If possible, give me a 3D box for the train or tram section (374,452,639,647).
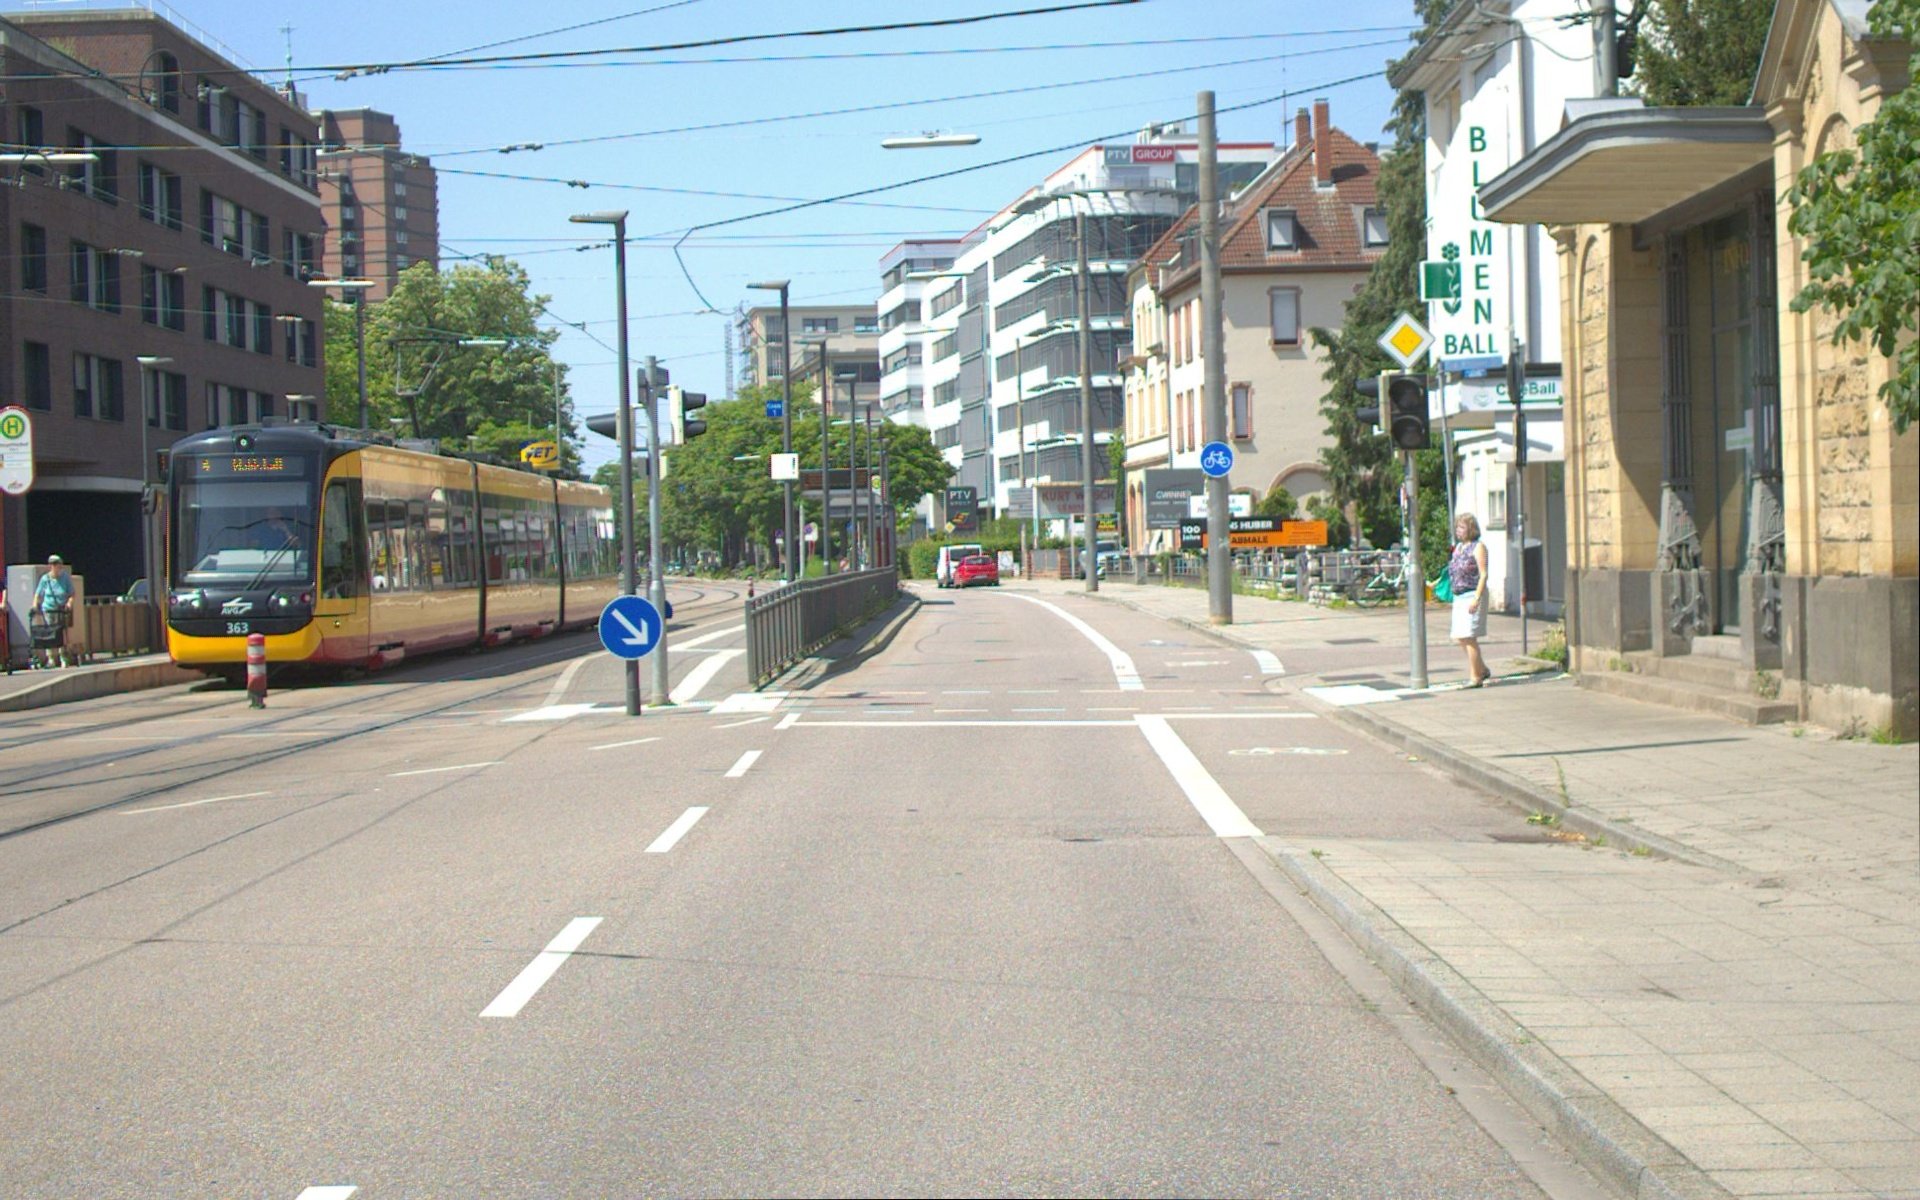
[{"bbox_3d":[-9.288,-1.024,72.792,3.235,3.555,16.350,-2,1,0],"label":"train or tram section"}]

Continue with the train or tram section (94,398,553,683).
[{"bbox_3d":[-9.411,-0.861,54.510,3.250,3.555,20.501,-2,1,0],"label":"train or tram section"}]

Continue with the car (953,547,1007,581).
[{"bbox_3d":[0.903,-1.636,155.717,1.993,1.437,4.017,-2,1,-5],"label":"car"}]

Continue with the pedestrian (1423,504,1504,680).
[{"bbox_3d":[4.853,-0.082,33.089,0.564,1.660,0.681,-2,1,23],"label":"pedestrian"}]

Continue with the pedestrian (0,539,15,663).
[{"bbox_3d":[-12.516,0.023,43.541,0.785,1.555,0.920,-2,1,0],"label":"pedestrian"}]

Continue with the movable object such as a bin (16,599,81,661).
[{"bbox_3d":[-12.056,0.391,45.477,0.675,0.778,0.619,-2,1,-1],"label":"movable object such as a bin"}]

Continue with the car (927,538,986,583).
[{"bbox_3d":[-0.184,-1.881,162.193,1.993,1.985,5.516,-3,1,-7],"label":"car"}]

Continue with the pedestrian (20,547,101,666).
[{"bbox_3d":[-12.046,0.081,46.039,0.785,1.555,0.920,-2,1,0],"label":"pedestrian"}]

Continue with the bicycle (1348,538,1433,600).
[{"bbox_3d":[8.125,-0.588,64.895,1.533,1.082,0.429,-3,1,7],"label":"bicycle"}]

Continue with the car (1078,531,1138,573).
[{"bbox_3d":[6.251,-2.024,145.750,1.878,1.619,4.640,-4,1,-4],"label":"car"}]

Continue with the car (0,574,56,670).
[{"bbox_3d":[-15.642,0.362,54.218,1.655,1.440,3.853,-2,1,1],"label":"car"}]
